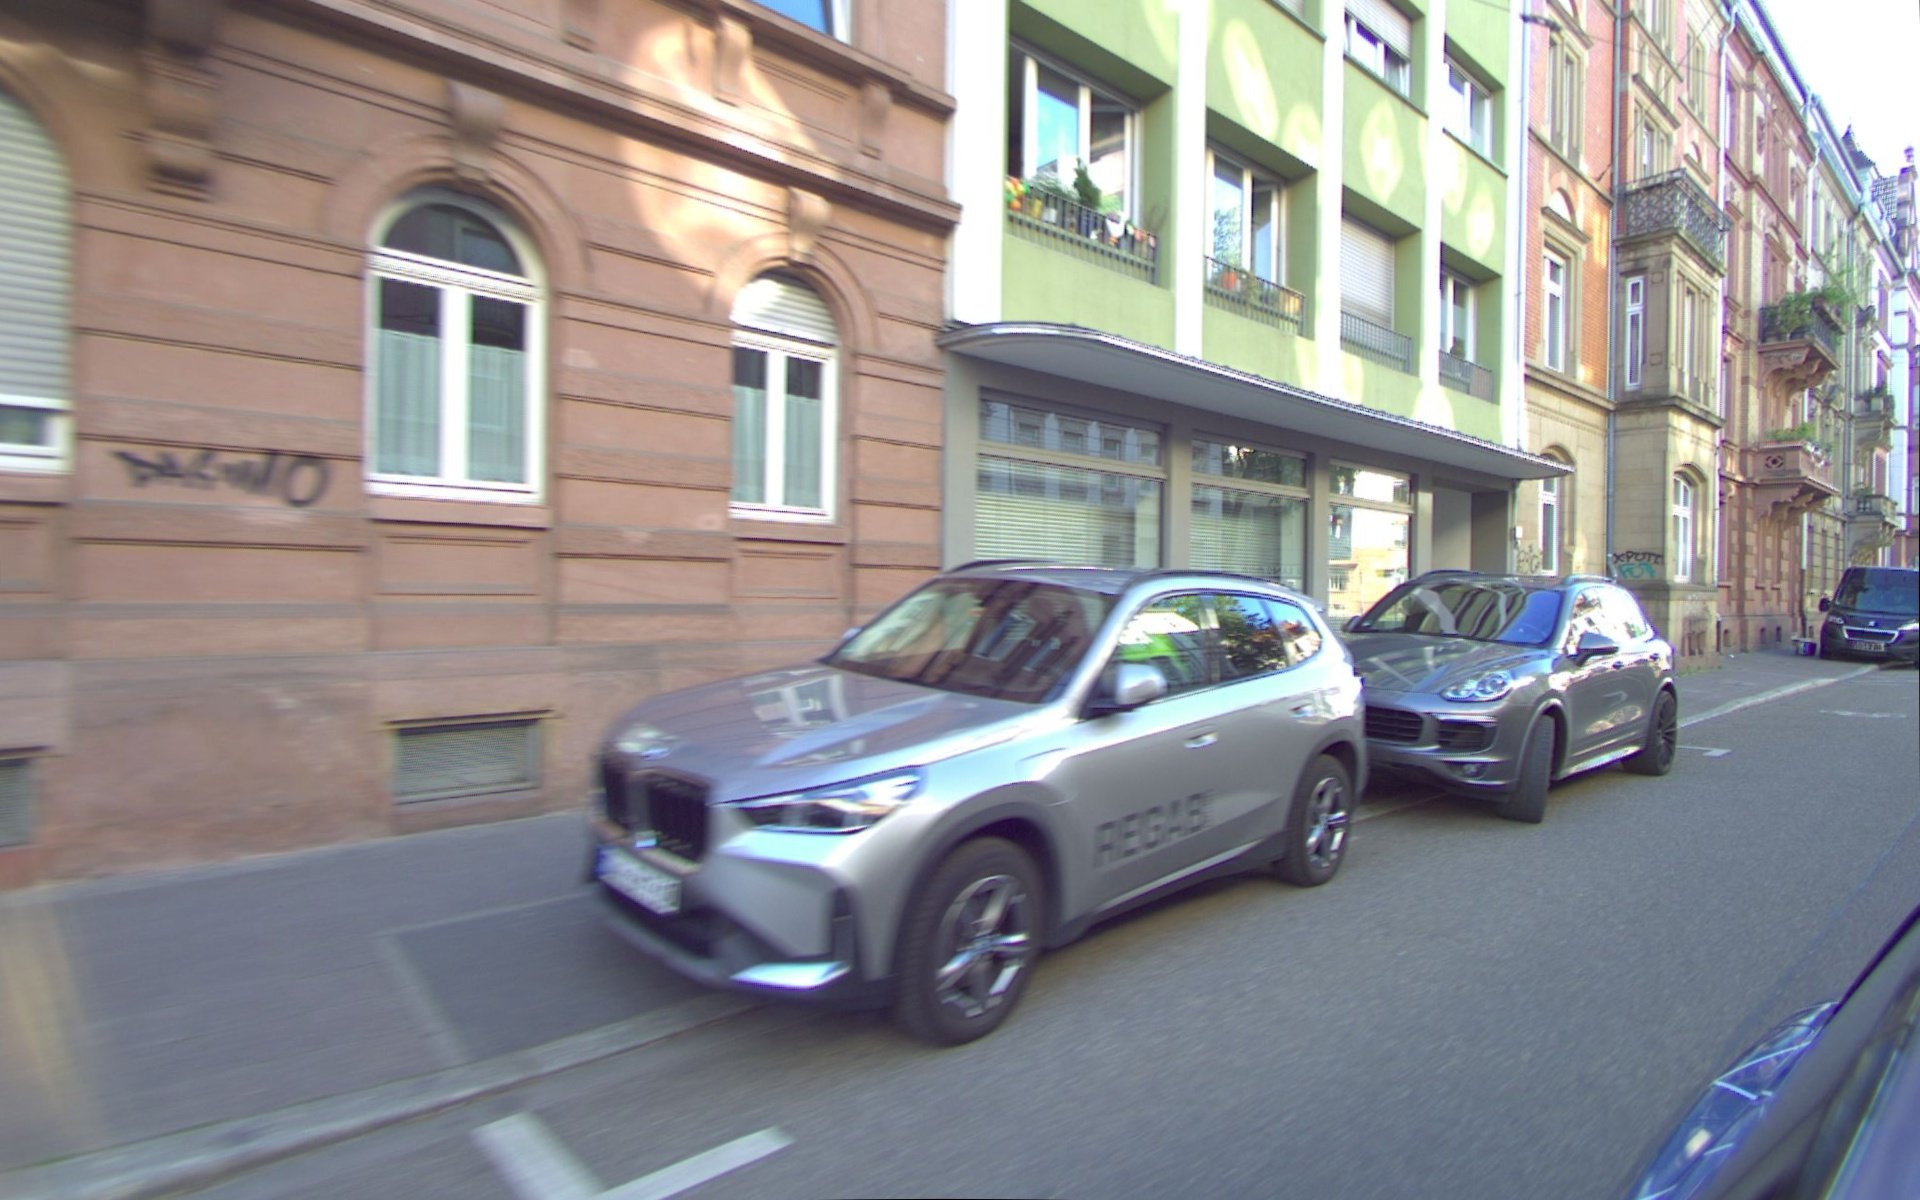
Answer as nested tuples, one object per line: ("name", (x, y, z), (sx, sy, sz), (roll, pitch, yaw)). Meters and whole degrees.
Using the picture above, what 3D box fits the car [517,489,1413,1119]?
("car", (0.415, 0.514, 4.891), (1.866, 1.667, 4.330), (0, 0, 44))

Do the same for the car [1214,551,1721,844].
("car", (4.290, 0.510, 8.167), (4.703, 1.635, 1.998), (-1, 4, -42))

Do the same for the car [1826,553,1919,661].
("car", (24.398, 0.133, 26.139), (5.751, 2.524, 2.127), (-1, 0, -40))
